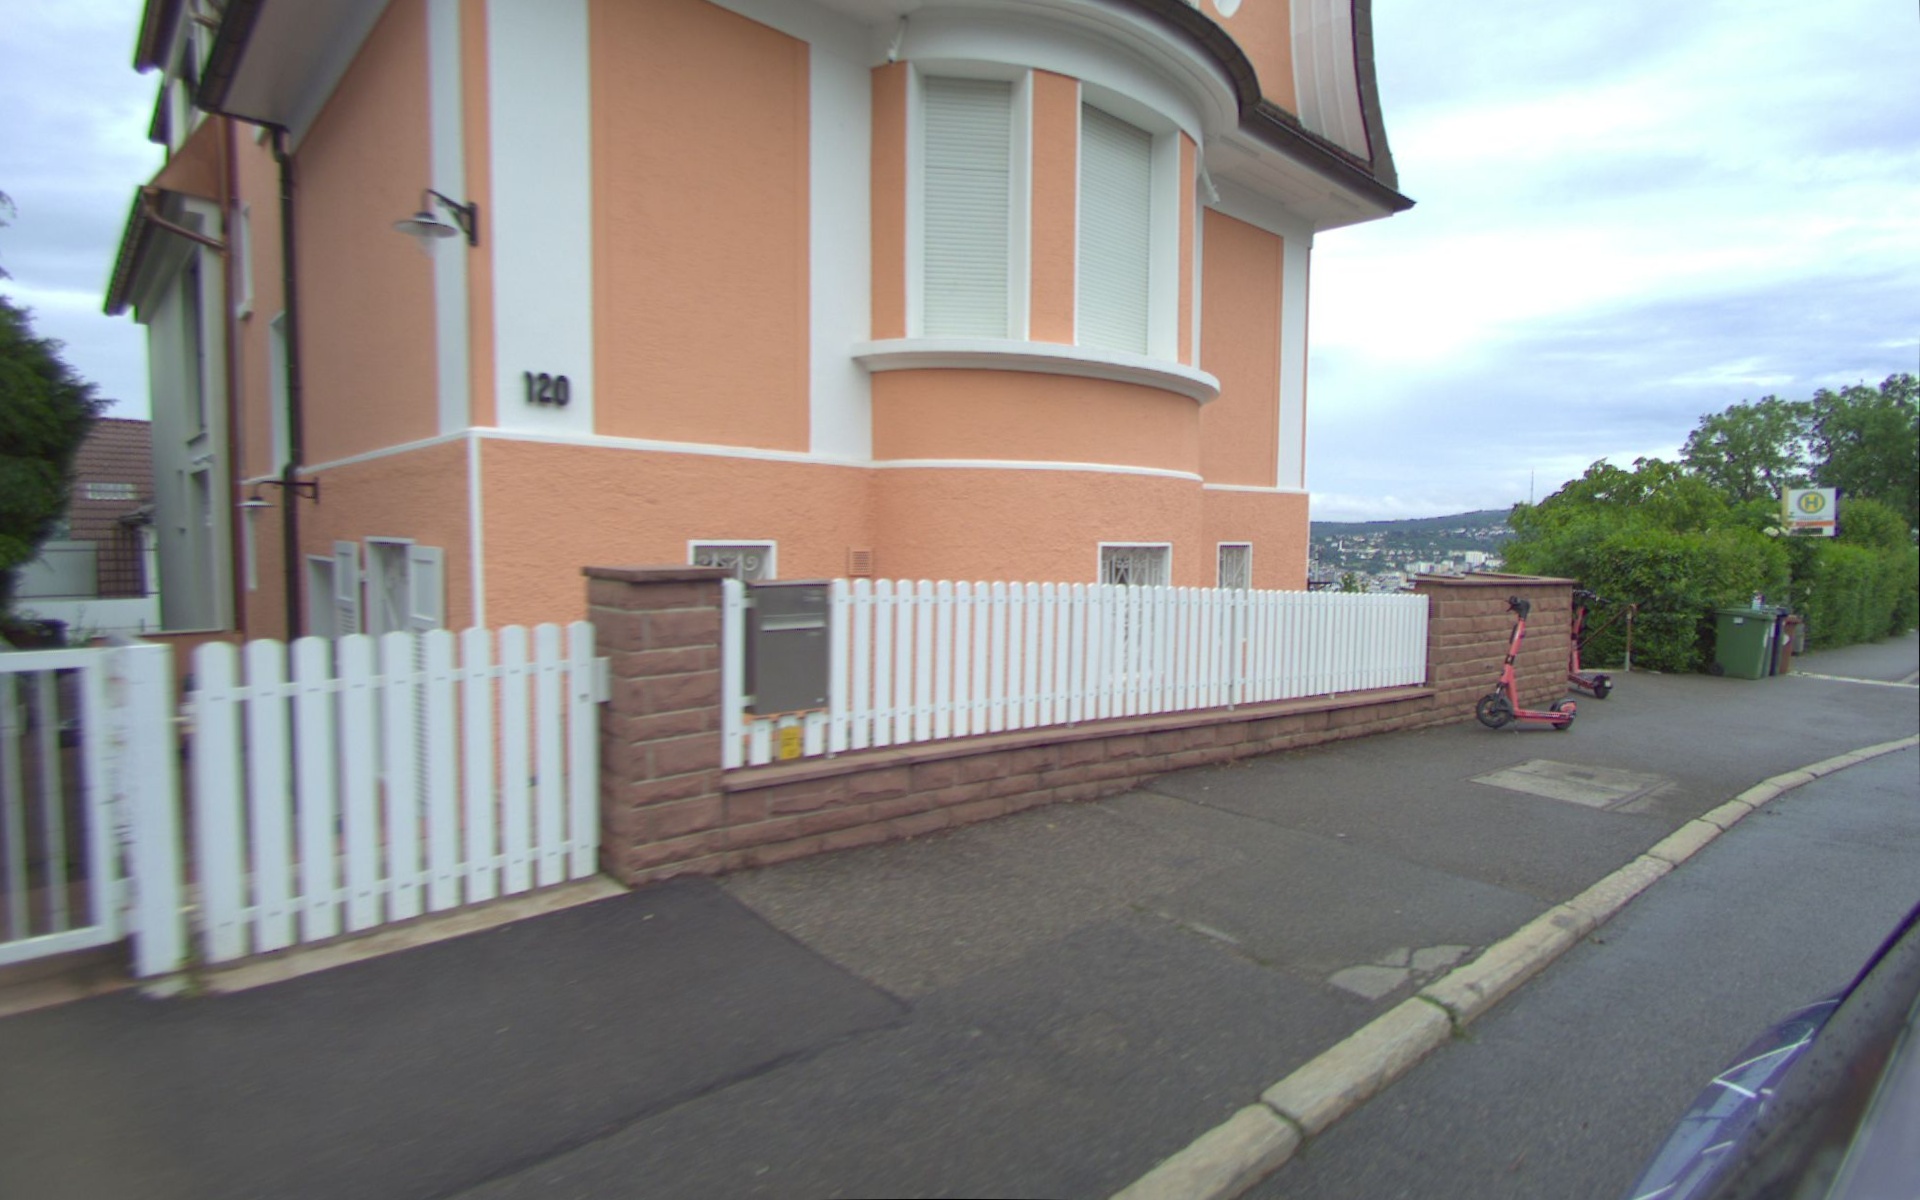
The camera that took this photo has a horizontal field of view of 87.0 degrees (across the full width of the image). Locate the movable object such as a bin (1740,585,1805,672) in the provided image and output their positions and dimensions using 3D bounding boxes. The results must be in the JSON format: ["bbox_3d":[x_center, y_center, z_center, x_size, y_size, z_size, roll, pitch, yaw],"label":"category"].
[{"bbox_3d":[12.221,0.415,15.229,0.672,1.261,0.613,0,2,-39],"label":"movable object such as a bin"}]

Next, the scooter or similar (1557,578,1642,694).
[{"bbox_3d":[7.754,0.401,12.325,0.350,1.287,1.291,1,3,9],"label":"scooter or similar"}]

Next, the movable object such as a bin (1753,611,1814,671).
[{"bbox_3d":[12.721,0.617,15.636,0.579,0.874,0.614,0,2,-39],"label":"movable object such as a bin"}]

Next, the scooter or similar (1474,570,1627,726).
[{"bbox_3d":[5.620,0.437,9.621,1.447,1.420,0.357,0,1,-18],"label":"scooter or similar"}]

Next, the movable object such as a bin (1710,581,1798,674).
[{"bbox_3d":[11.571,0.377,14.745,0.900,1.260,0.727,0,5,-39],"label":"movable object such as a bin"}]
